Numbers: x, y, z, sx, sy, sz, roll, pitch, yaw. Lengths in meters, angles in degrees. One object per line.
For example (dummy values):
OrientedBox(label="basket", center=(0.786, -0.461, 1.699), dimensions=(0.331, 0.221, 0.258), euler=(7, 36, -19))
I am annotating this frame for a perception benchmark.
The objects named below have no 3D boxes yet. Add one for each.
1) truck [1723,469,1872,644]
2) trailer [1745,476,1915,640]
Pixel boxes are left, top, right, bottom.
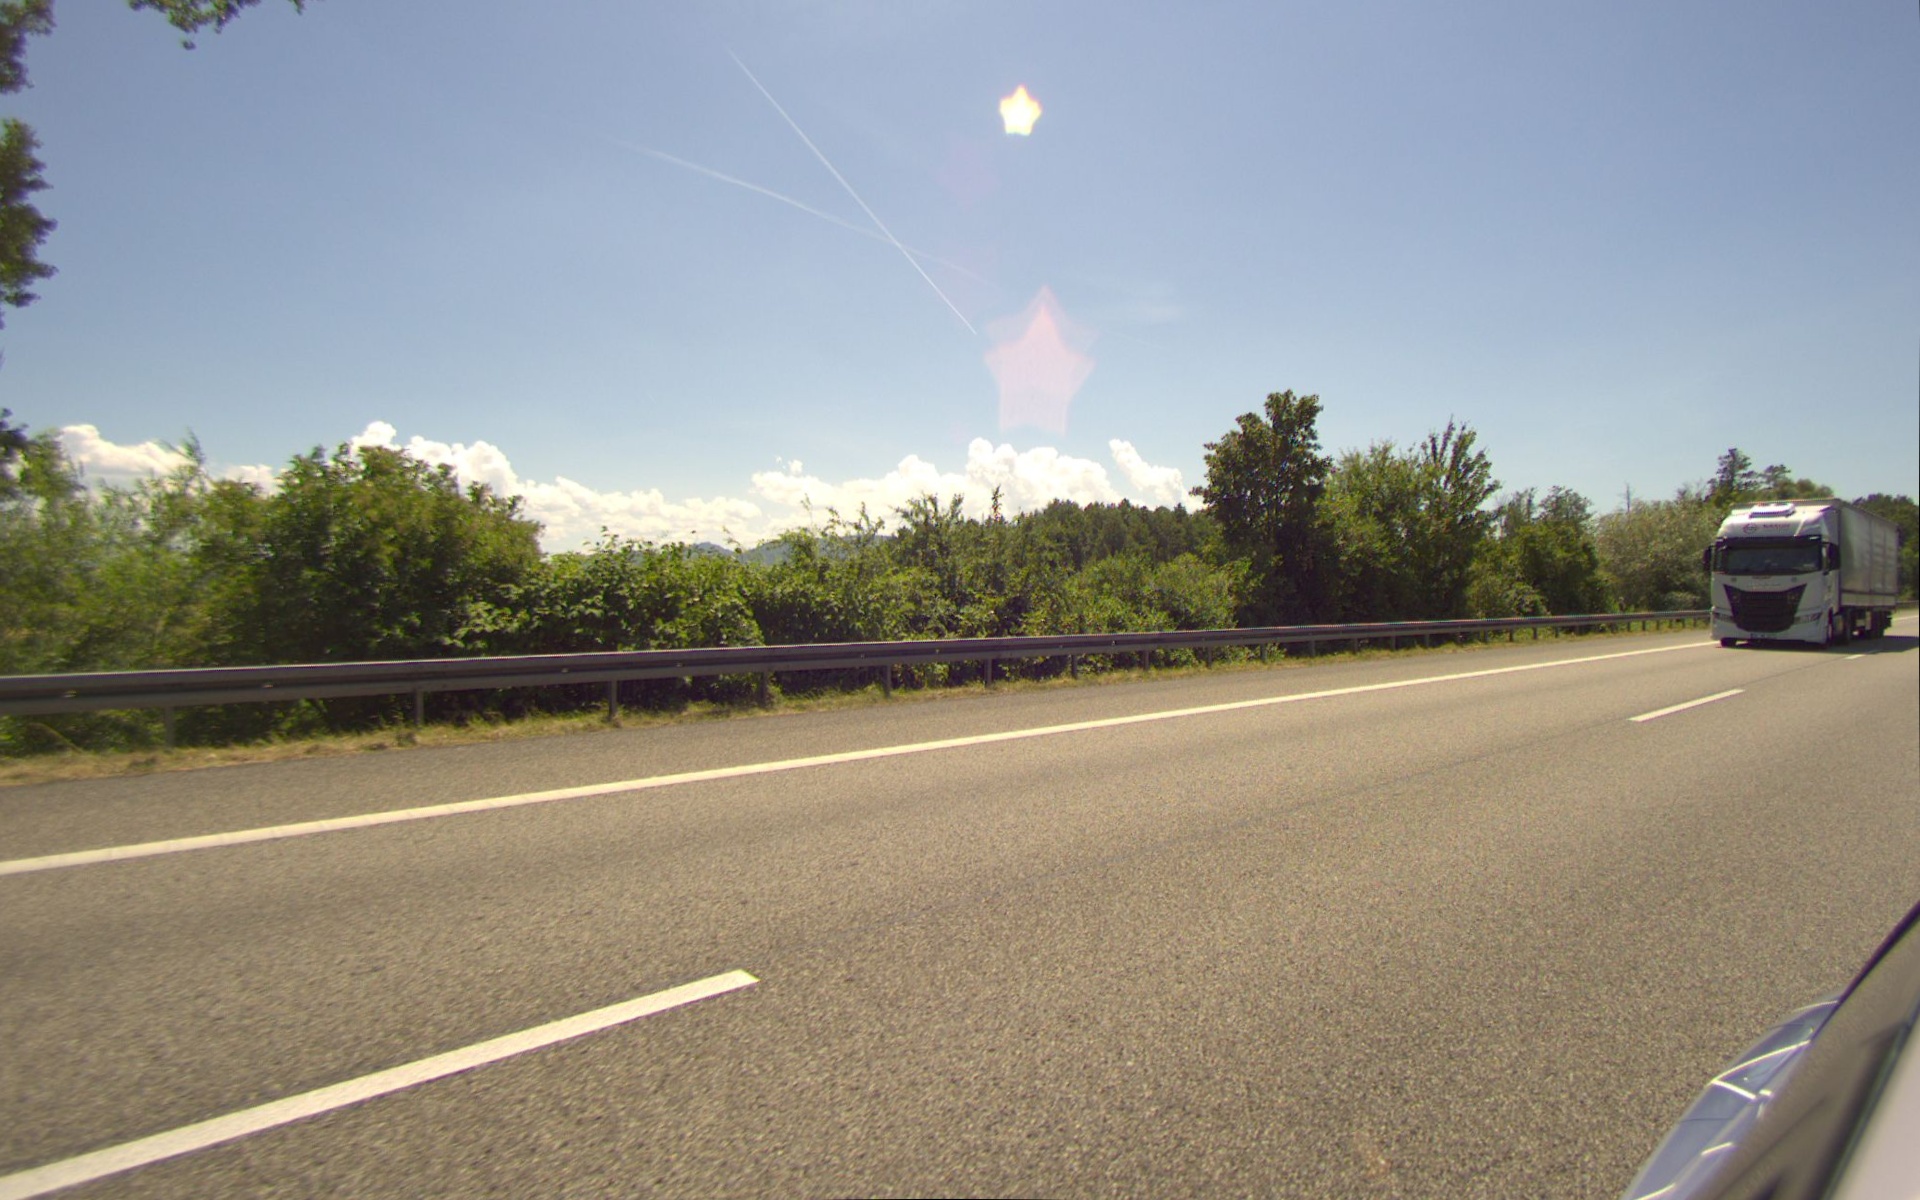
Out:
OrientedBox(label="truck", center=(24.151, -1.170, 29.091), dimensions=(5.477, 4.528, 2.539), euler=(-1, 1, -42))
OrientedBox(label="trailer", center=(29.072, -1.236, 33.459), dimensions=(13.917, 4.528, 2.539), euler=(-1, 1, -42))
